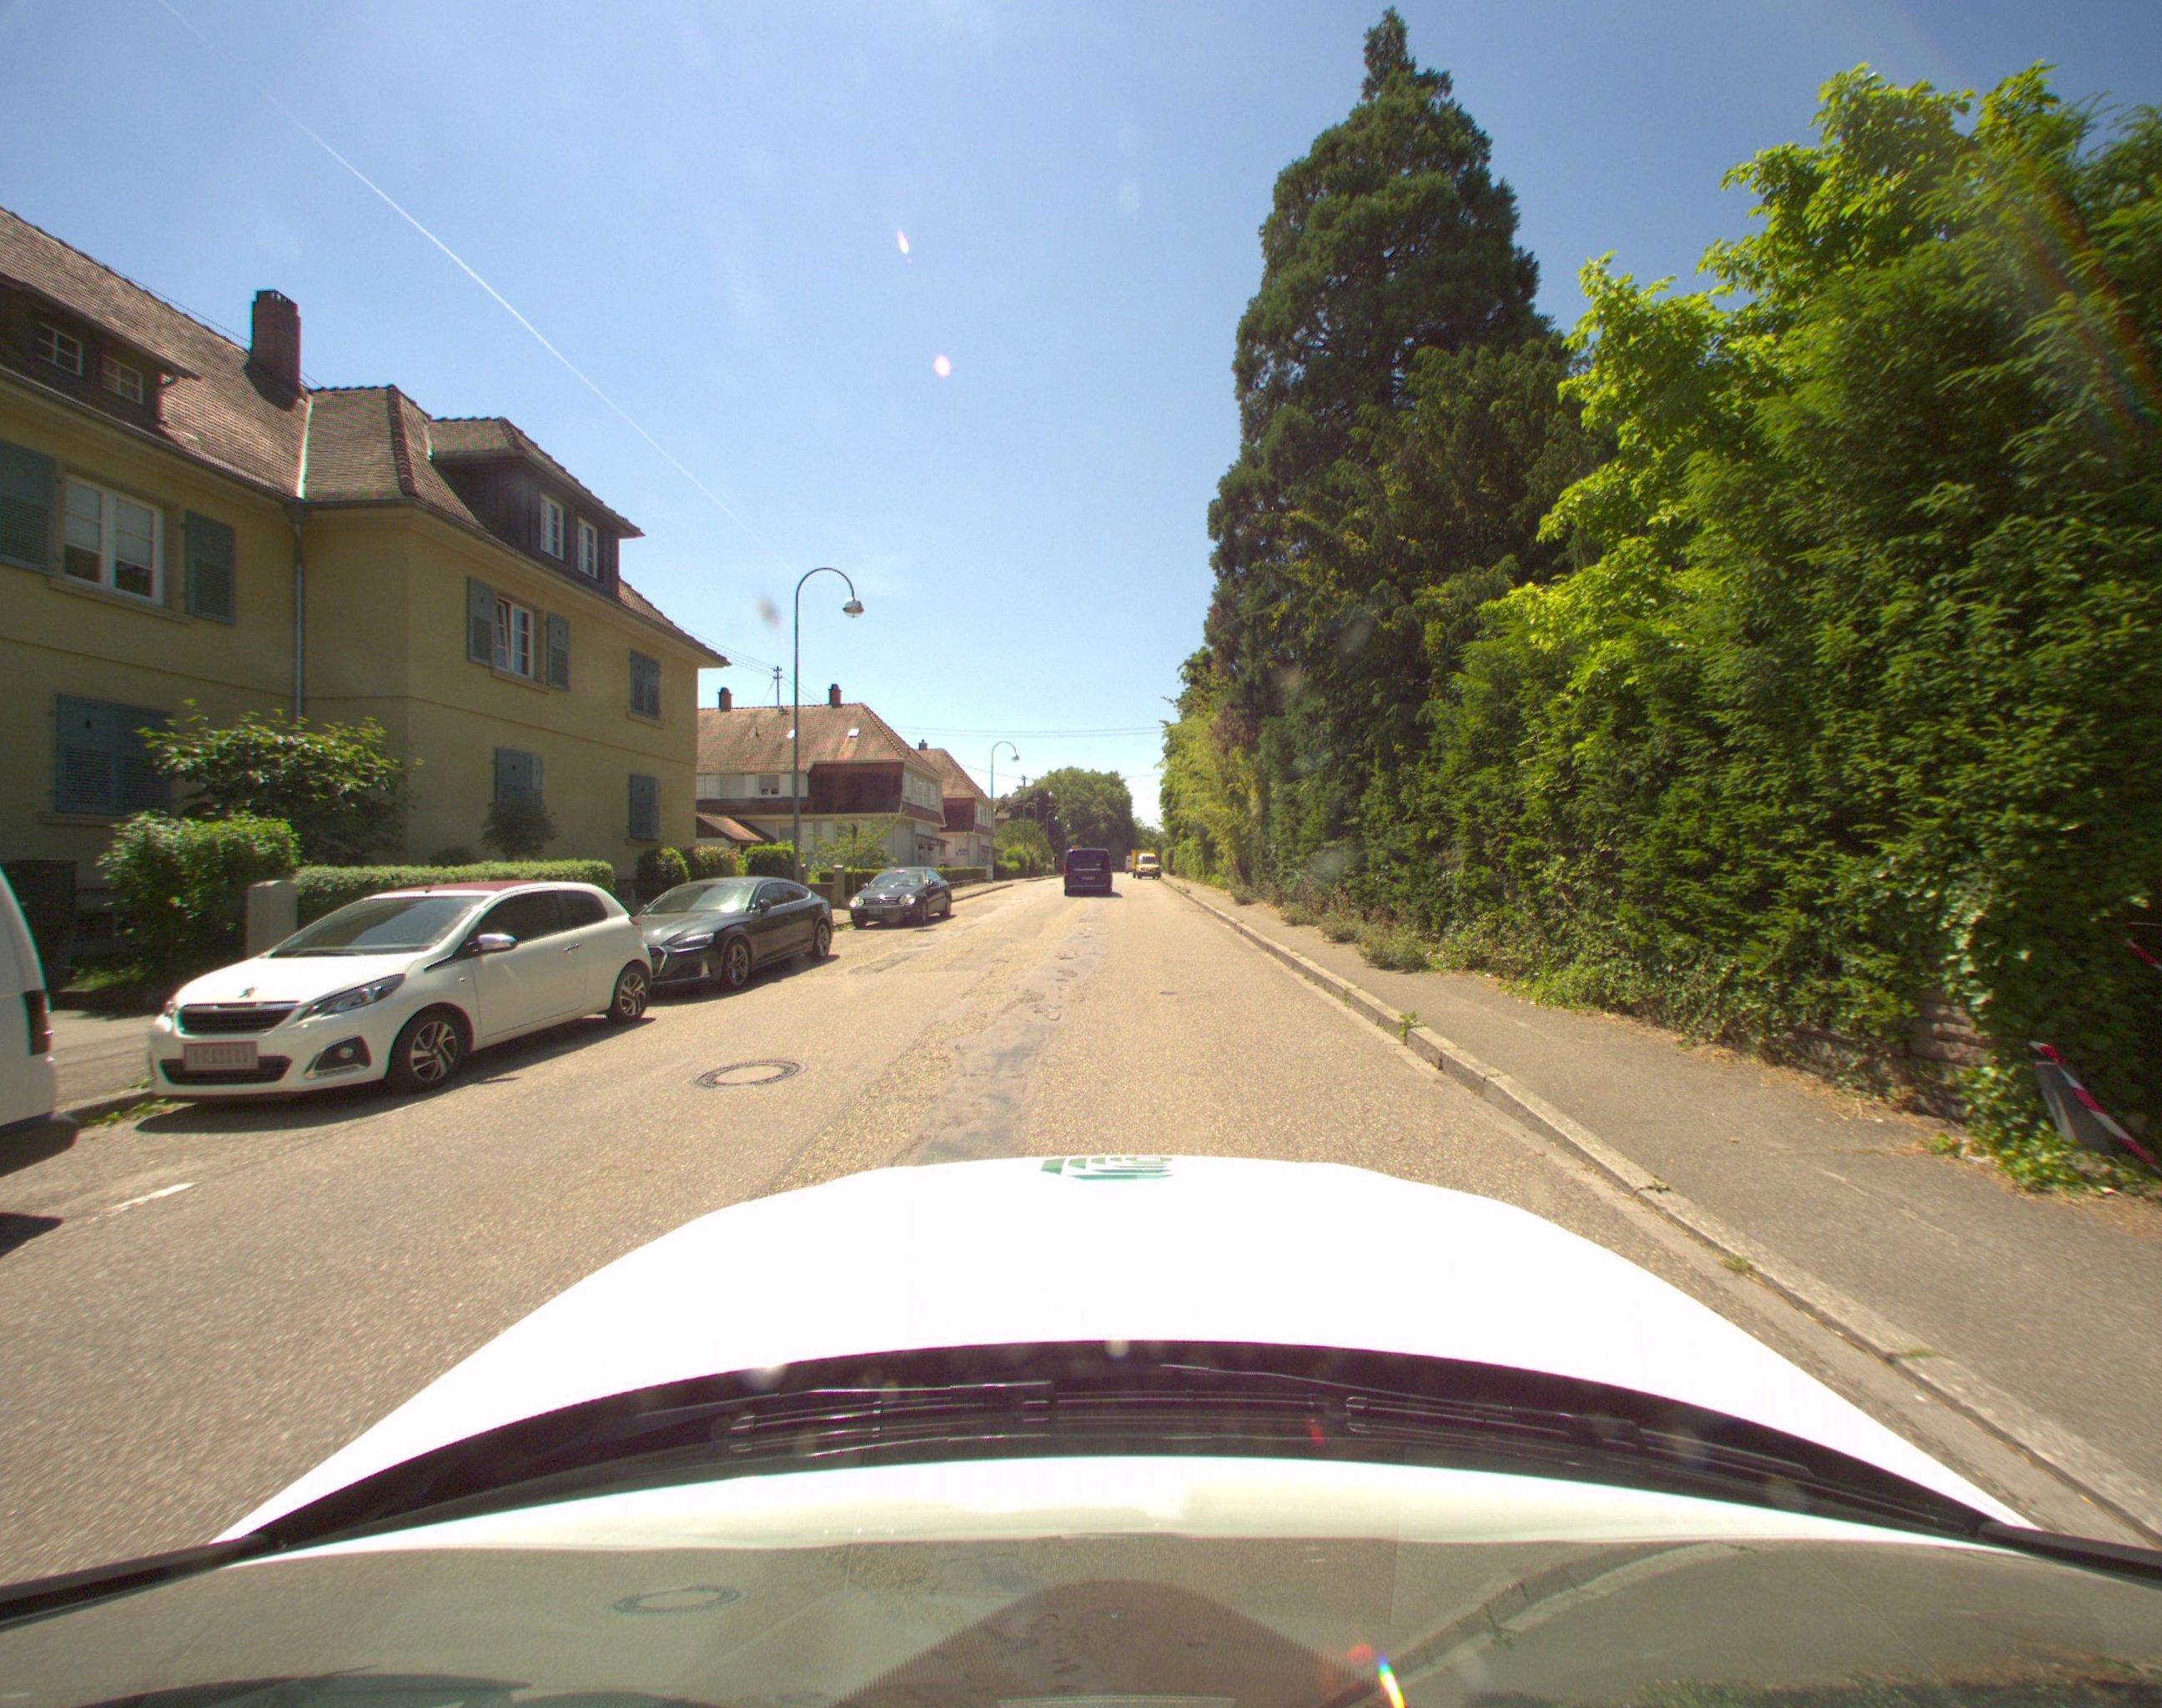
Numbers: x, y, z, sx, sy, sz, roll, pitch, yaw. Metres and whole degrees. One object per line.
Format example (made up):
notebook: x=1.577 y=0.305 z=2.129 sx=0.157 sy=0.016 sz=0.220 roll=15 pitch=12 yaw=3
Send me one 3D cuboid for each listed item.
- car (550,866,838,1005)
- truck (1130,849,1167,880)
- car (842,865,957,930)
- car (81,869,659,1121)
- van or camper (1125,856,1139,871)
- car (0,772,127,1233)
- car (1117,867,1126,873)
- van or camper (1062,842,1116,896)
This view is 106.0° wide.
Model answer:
car: x=-5.007 y=0.946 z=11.360 sx=1.659 sy=1.493 sz=4.469 roll=-1 pitch=0 yaw=3
truck: x=5.178 y=0.815 z=63.655 sx=2.348 sy=2.258 sz=6.090 roll=-1 pitch=-1 yaw=0
car: x=-4.469 y=1.019 z=20.765 sx=1.659 sy=1.386 sz=4.384 roll=-3 pitch=0 yaw=3
car: x=-5.386 y=0.921 z=6.857 sx=1.659 sy=1.493 sz=3.481 roll=-2 pitch=0 yaw=3
van or camper: x=7.469 y=1.367 z=118.466 sx=1.985 sy=2.014 sz=4.003 roll=-1 pitch=-1 yaw=3
car: x=-5.664 y=0.669 z=1.620 sx=1.870 sy=1.963 sz=4.629 roll=-3 pitch=-1 yaw=3
car: x=9.571 y=3.732 z=192.649 sx=1.538 sy=1.449 sz=3.015 roll=-1 pitch=0 yaw=12
van or camper: x=0.405 y=0.596 z=33.158 sx=1.894 sy=2.014 sz=5.274 roll=0 pitch=-1 yaw=3
